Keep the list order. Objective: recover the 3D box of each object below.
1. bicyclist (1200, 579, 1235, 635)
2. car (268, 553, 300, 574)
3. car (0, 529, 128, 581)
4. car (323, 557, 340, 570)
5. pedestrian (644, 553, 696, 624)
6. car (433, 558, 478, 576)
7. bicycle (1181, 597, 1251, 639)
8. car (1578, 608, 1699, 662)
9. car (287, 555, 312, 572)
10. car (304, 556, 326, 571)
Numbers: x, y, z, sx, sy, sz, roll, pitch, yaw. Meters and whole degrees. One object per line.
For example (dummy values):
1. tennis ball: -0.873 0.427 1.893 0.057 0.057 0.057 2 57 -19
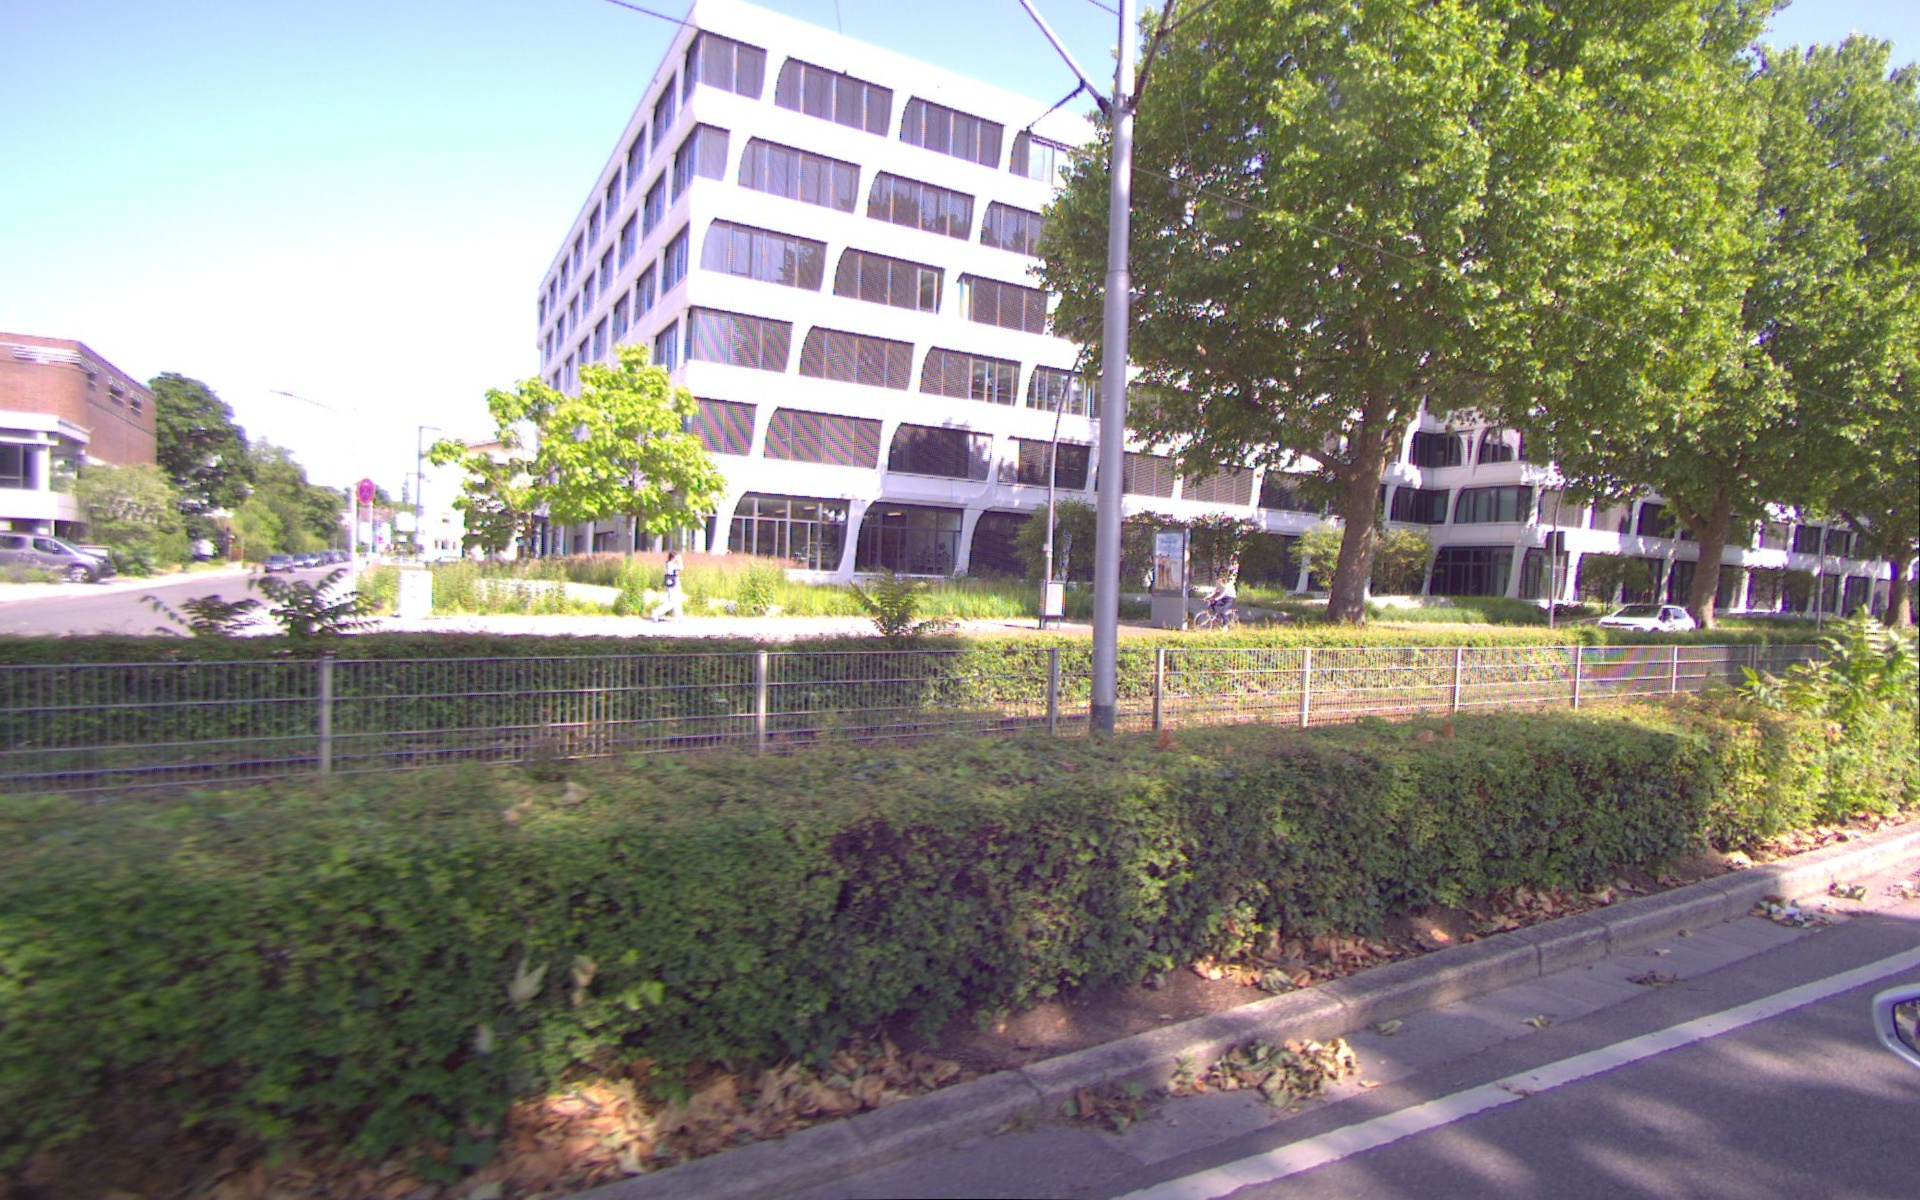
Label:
1. bicyclist: 7.307 0.195 28.497 0.633 1.555 0.651 1 2 -30
2. car: -53.066 -2.884 78.891 1.713 1.555 3.767 1 2 -30
3. car: -36.019 -1.781 39.674 4.563 1.839 1.984 1 2 -30
4. car: -81.757 -4.753 130.690 1.713 1.555 3.824 1 2 -30
5. pedestrian: -6.794 -0.268 23.537 1.003 1.609 0.716 1 2 -30
6. car: -37.995 -2.509 75.661 2.996 1.211 1.359 1 2 -31
7. bicycle: 7.281 0.510 28.501 2.007 1.139 0.661 1 2 -30
8. car: 22.501 1.144 33.295 3.972 1.591 1.748 1 2 -31
9. car: -65.050 -3.646 98.977 1.713 1.555 3.869 1 2 -30
10. car: -68.870 -3.912 107.348 1.713 1.555 3.824 1 2 -30
